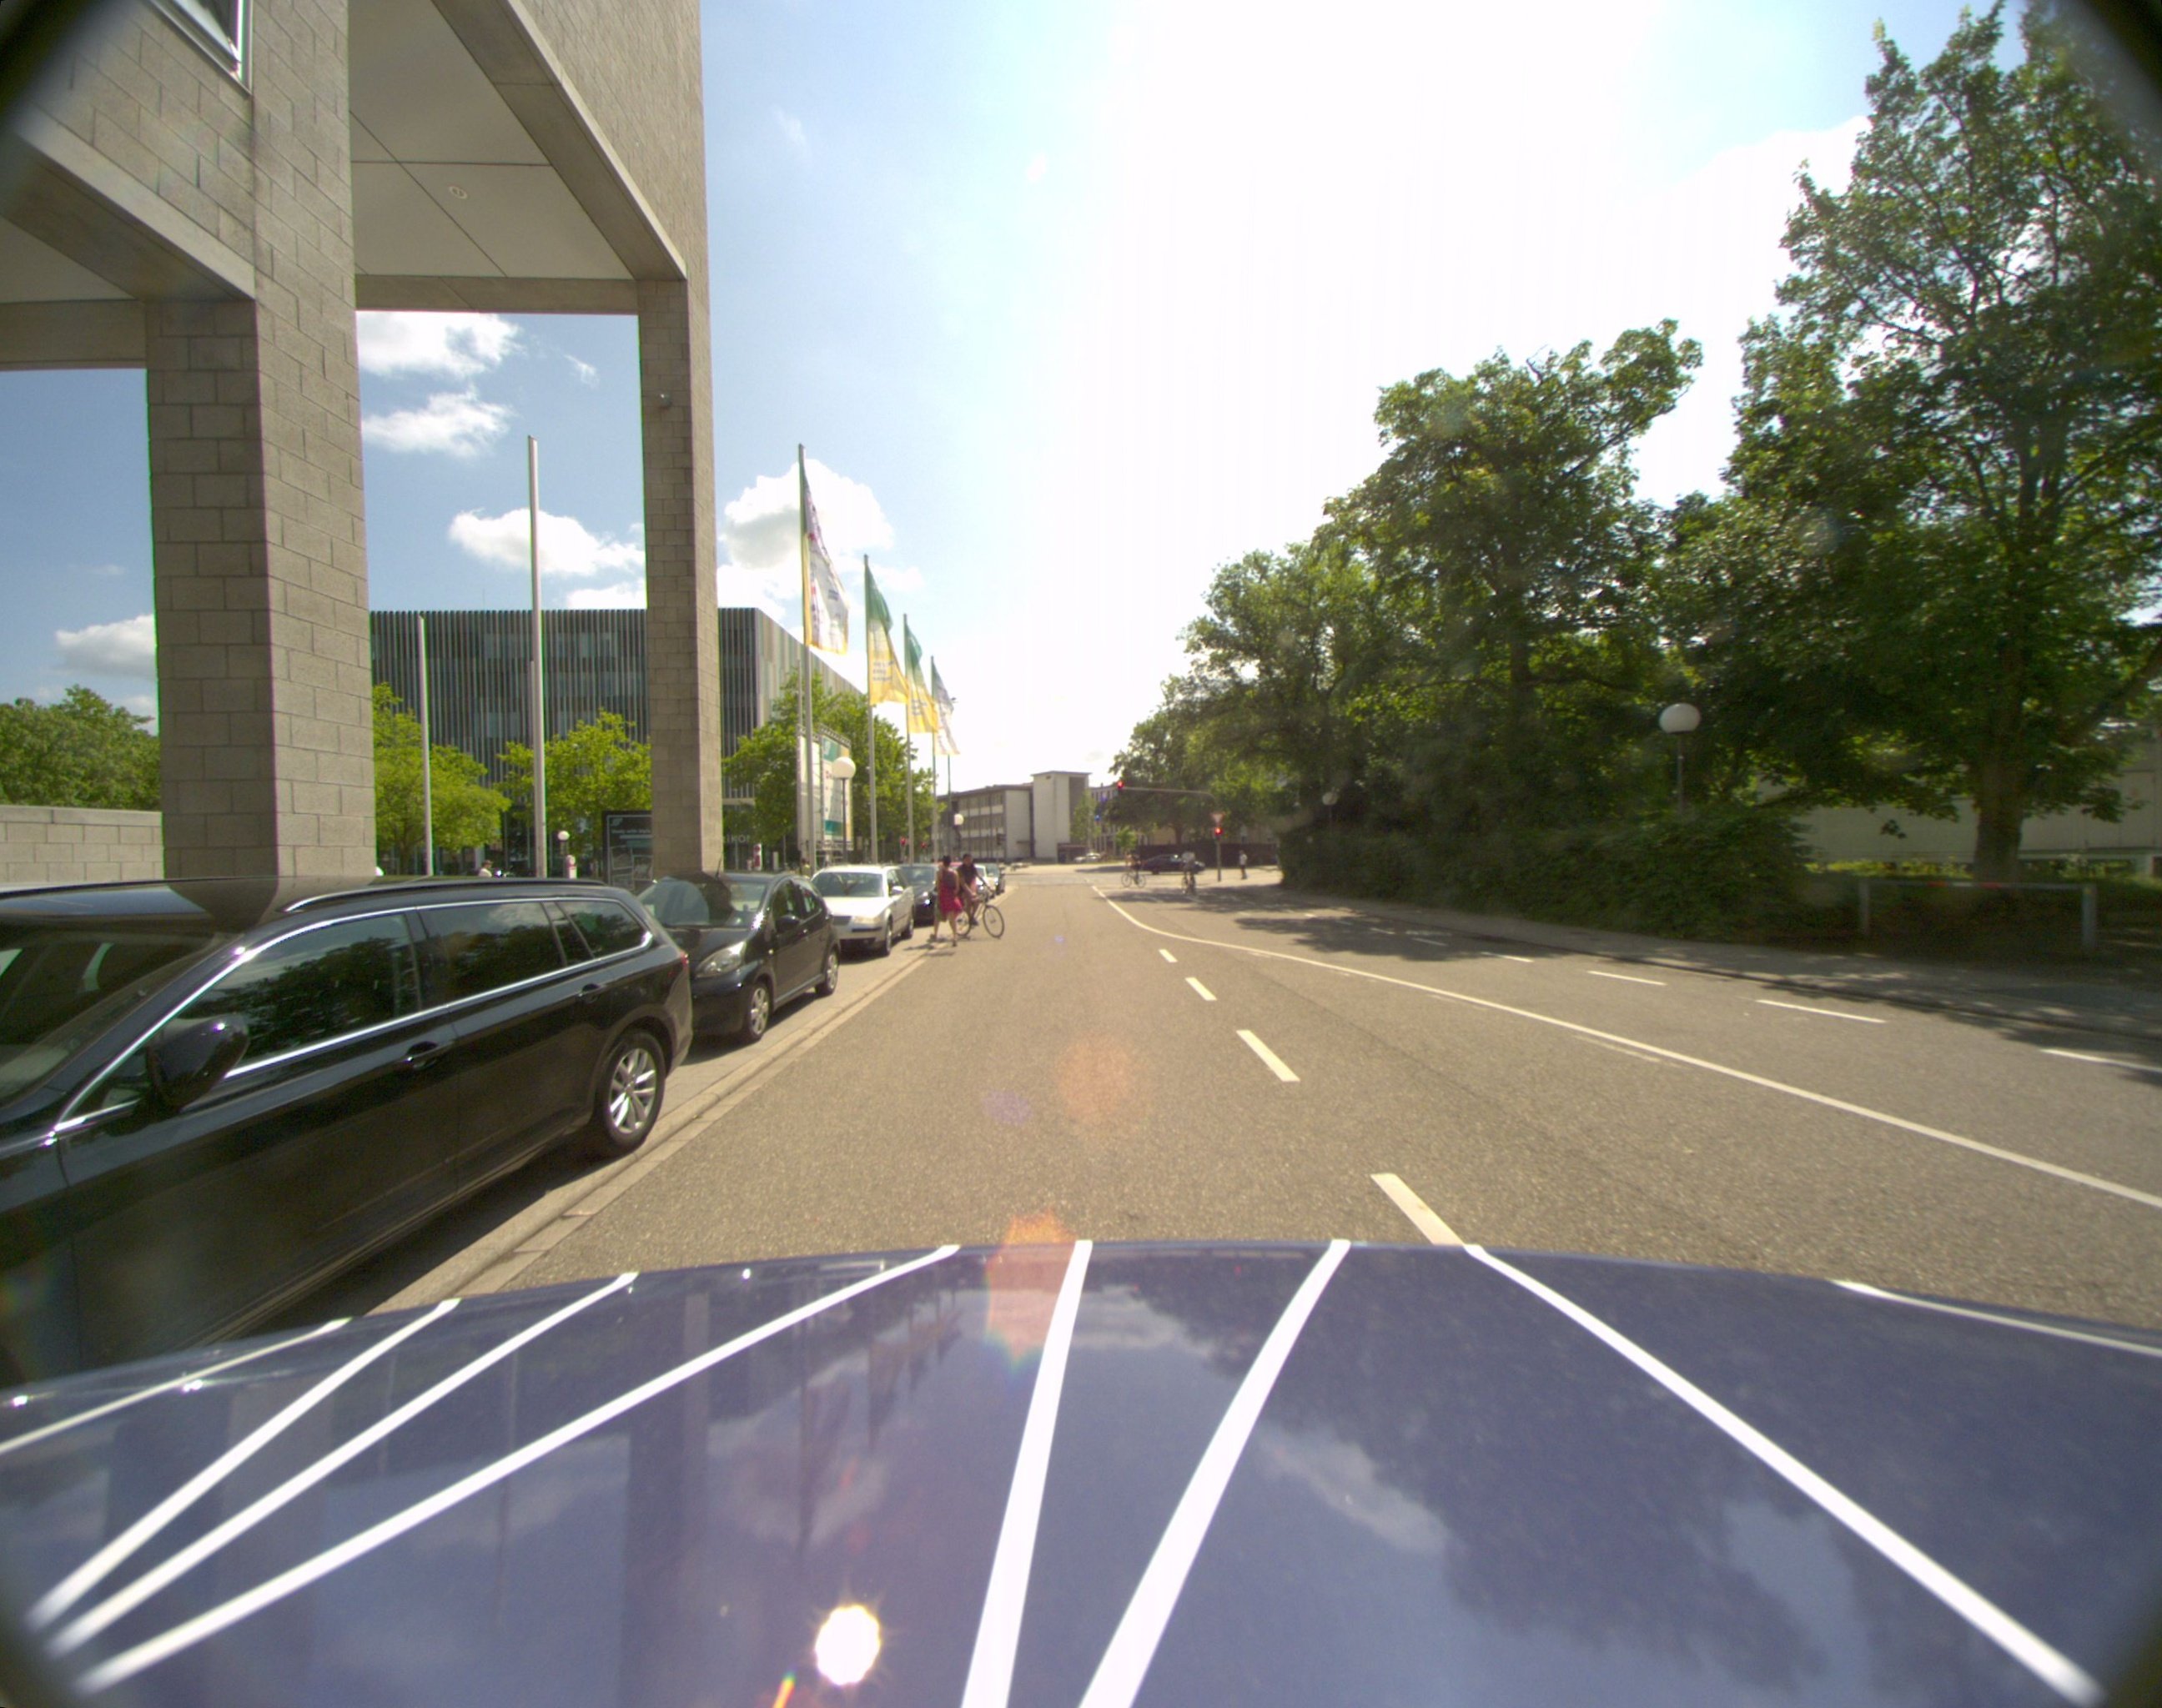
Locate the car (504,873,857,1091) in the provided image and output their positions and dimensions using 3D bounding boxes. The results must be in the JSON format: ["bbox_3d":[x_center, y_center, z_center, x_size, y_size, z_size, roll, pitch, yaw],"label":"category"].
[{"bbox_3d":[-3.605,1.011,7.749,1.619,1.488,4.005,-2,0,-3],"label":"car"}]

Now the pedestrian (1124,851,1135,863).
[{"bbox_3d":[6.644,0.386,103.631,1.297,1.641,1.327,-1,1,11],"label":"pedestrian"}]

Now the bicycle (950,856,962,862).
[{"bbox_3d":[-19.624,0.746,118.888,1.776,0.950,0.527,-1,3,-30],"label":"bicycle"}]

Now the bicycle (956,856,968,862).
[{"bbox_3d":[-18.212,0.759,116.420,1.776,0.950,0.527,-1,3,-30],"label":"bicycle"}]

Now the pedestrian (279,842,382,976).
[{"bbox_3d":[-11.160,0.789,11.327,0.726,1.914,0.750,-1,1,-7],"label":"pedestrian"}]

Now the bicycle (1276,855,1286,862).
[{"bbox_3d":[20.200,0.489,76.861,0.409,0.678,1.005,-2,3,-27],"label":"bicycle"}]

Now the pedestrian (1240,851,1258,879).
[{"bbox_3d":[10.257,0.650,46.370,0.930,1.690,0.854,-1,0,1],"label":"pedestrian"}]

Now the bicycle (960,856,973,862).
[{"bbox_3d":[-17.401,0.765,115.391,1.776,0.950,0.527,-1,3,-30],"label":"bicycle"}]

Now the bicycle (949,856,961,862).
[{"bbox_3d":[-19.754,0.781,119.082,1.776,0.950,0.527,-1,3,-30],"label":"bicycle"}]

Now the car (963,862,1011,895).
[{"bbox_3d":[-4.349,1.095,35.758,1.723,1.392,4.947,1,0,-2],"label":"car"}]

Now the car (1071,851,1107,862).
[{"bbox_3d":[1.137,0.325,103.963,4.501,1.299,1.994,-2,3,-33],"label":"car"}]

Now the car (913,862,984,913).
[{"bbox_3d":[-4.227,1.024,24.819,1.618,1.488,4.146,1,0,-1],"label":"car"}]

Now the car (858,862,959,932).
[{"bbox_3d":[-4.294,1.006,19.493,1.723,1.520,3.999,-1,0,-1],"label":"car"}]

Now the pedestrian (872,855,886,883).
[{"bbox_3d":[-13.176,0.996,49.519,0.594,1.789,0.612,-2,-1,23],"label":"pedestrian"}]

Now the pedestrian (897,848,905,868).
[{"bbox_3d":[-16.461,0.390,69.615,0.633,1.831,0.479,-2,2,-16],"label":"pedestrian"}]

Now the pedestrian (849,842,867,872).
[{"bbox_3d":[-14.484,0.202,49.346,0.856,1.808,1.176,1,-3,-3],"label":"pedestrian"}]

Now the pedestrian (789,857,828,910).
[{"bbox_3d":[-9.113,0.974,25.413,0.920,1.730,1.001,-1,1,-2],"label":"pedestrian"}]

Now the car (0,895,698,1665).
[{"bbox_3d":[-3.271,1.010,2.450,1.871,1.456,4.519,-1,0,-2],"label":"car"}]

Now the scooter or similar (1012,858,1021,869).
[{"bbox_3d":[-6.440,0.962,76.178,0.403,1.060,1.148,-2,1,-29],"label":"scooter or similar"}]

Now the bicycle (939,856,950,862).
[{"bbox_3d":[-21.945,0.843,122.128,1.776,0.950,0.527,-1,3,-30],"label":"bicycle"}]

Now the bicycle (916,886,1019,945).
[{"bbox_3d":[-2.362,1.225,15.689,2.148,1.072,0.906,-1,0,41],"label":"bicycle"}]

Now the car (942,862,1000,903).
[{"bbox_3d":[-4.218,1.062,29.731,1.723,1.392,4.437,1,0,-2],"label":"car"}]

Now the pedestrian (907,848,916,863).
[{"bbox_3d":[-21.176,0.156,94.811,0.676,1.779,0.845,-1,1,21],"label":"pedestrian"}]

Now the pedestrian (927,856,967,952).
[{"bbox_3d":[-2.482,0.897,14.175,0.624,1.707,1.040,-1,1,-5],"label":"pedestrian"}]

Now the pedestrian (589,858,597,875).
[{"bbox_3d":[-52.696,1.348,82.045,0.554,1.831,0.561,-1,2,-9],"label":"pedestrian"}]

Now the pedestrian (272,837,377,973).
[{"bbox_3d":[-11.134,0.716,11.212,0.785,1.914,0.733,-1,1,-14],"label":"pedestrian"}]

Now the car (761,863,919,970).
[{"bbox_3d":[-4.064,0.954,13.575,1.724,1.520,4.564,0,0,-5],"label":"car"}]

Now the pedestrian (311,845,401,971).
[{"bbox_3d":[-11.374,0.822,11.939,0.786,1.914,0.592,-2,1,-17],"label":"pedestrian"}]

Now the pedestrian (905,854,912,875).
[{"bbox_3d":[-15.803,0.956,69.796,0.575,1.831,0.415,-1,2,-12],"label":"pedestrian"}]

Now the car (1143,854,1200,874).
[{"bbox_3d":[6.743,0.708,56.785,4.186,1.408,1.831,-1,1,5],"label":"car"}]

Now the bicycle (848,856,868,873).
[{"bbox_3d":[-14.482,0.698,49.375,0.817,1.066,1.891,0,-3,-4],"label":"bicycle"}]

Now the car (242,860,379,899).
[{"bbox_3d":[-40.448,1.302,39.980,4.940,1.854,1.902,-1,1,-4],"label":"car"}]
